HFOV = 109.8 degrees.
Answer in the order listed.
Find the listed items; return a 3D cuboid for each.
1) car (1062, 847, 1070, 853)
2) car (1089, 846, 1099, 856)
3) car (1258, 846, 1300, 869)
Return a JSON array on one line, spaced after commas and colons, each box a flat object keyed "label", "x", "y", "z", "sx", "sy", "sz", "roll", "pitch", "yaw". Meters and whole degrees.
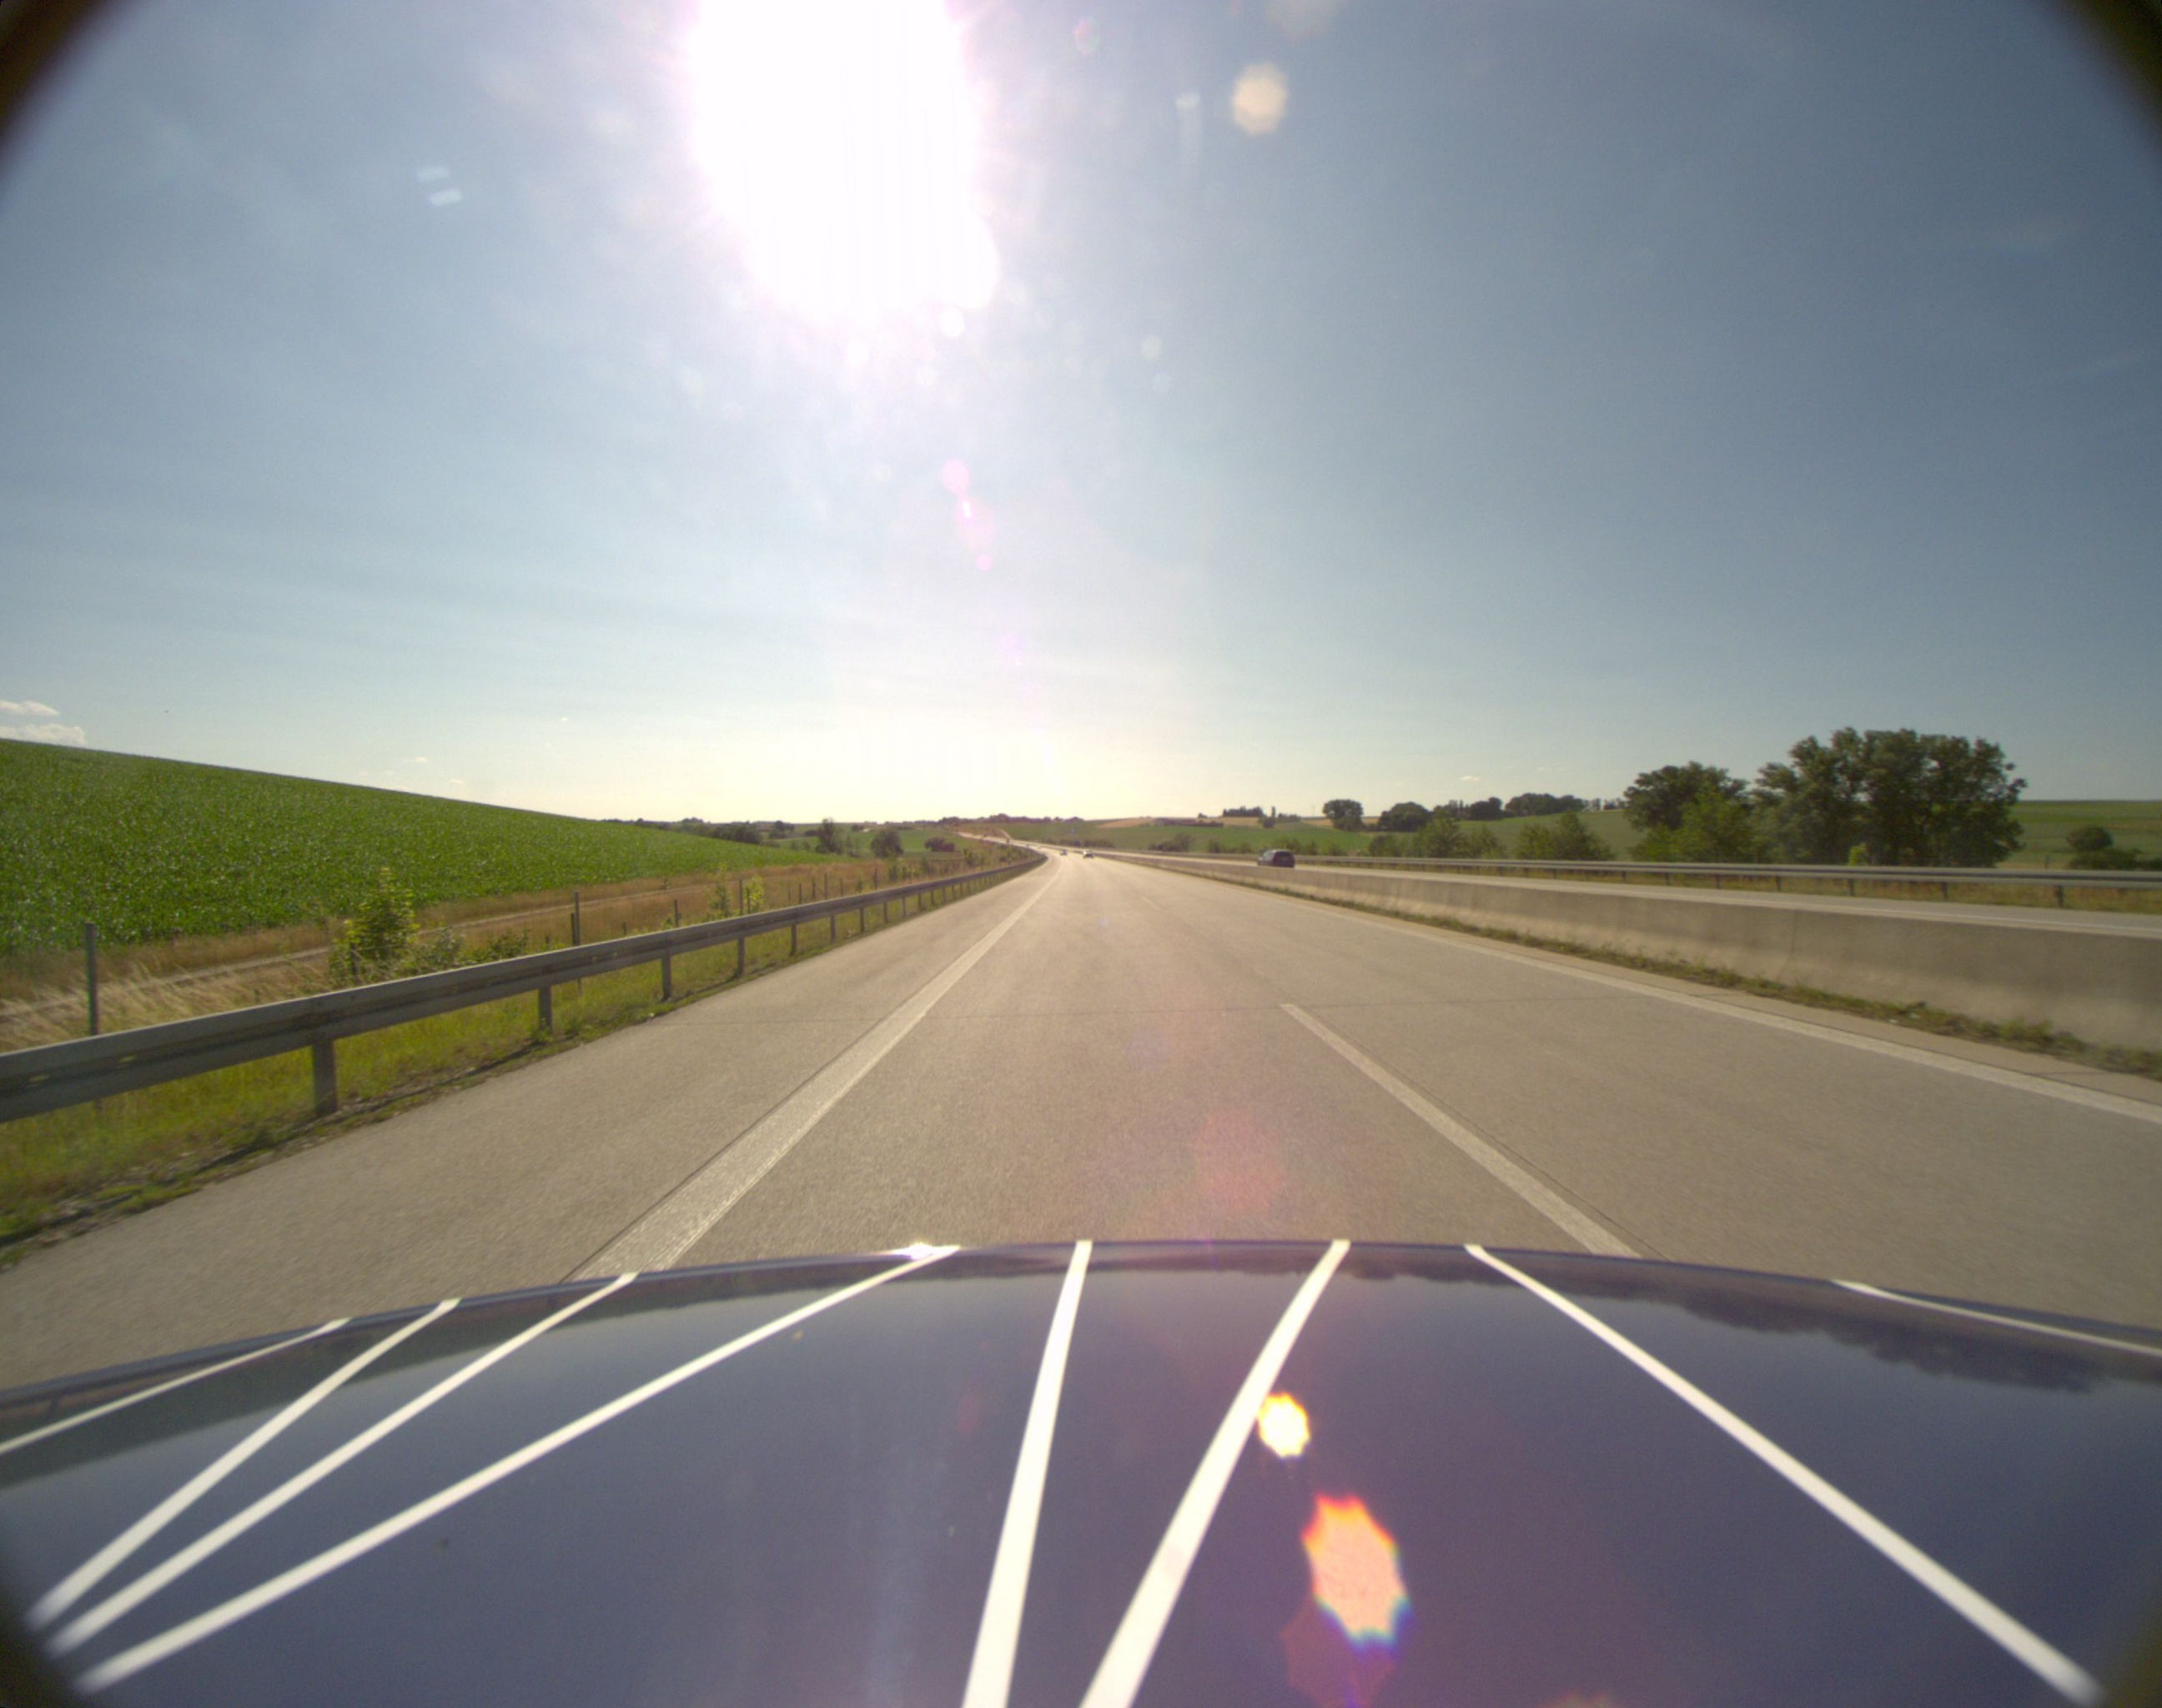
[{"label": "car", "x": -4.122, "y": -1.073, "z": 205.947, "sx": 1.716, "sy": 1.581, "sz": 4.622, "roll": -3, "pitch": 3, "yaw": -5}, {"label": "car", "x": 2.419, "y": -0.616, "z": 139.862, "sx": 1.714, "sy": 1.581, "sz": 4.625, "roll": -2, "pitch": 3, "yaw": 2}, {"label": "car", "x": 14.073, "y": 0.197, "z": 54.177, "sx": 1.817, "sy": 1.448, "sz": 4.511, "roll": -2, "pitch": 1, "yaw": 1}]
